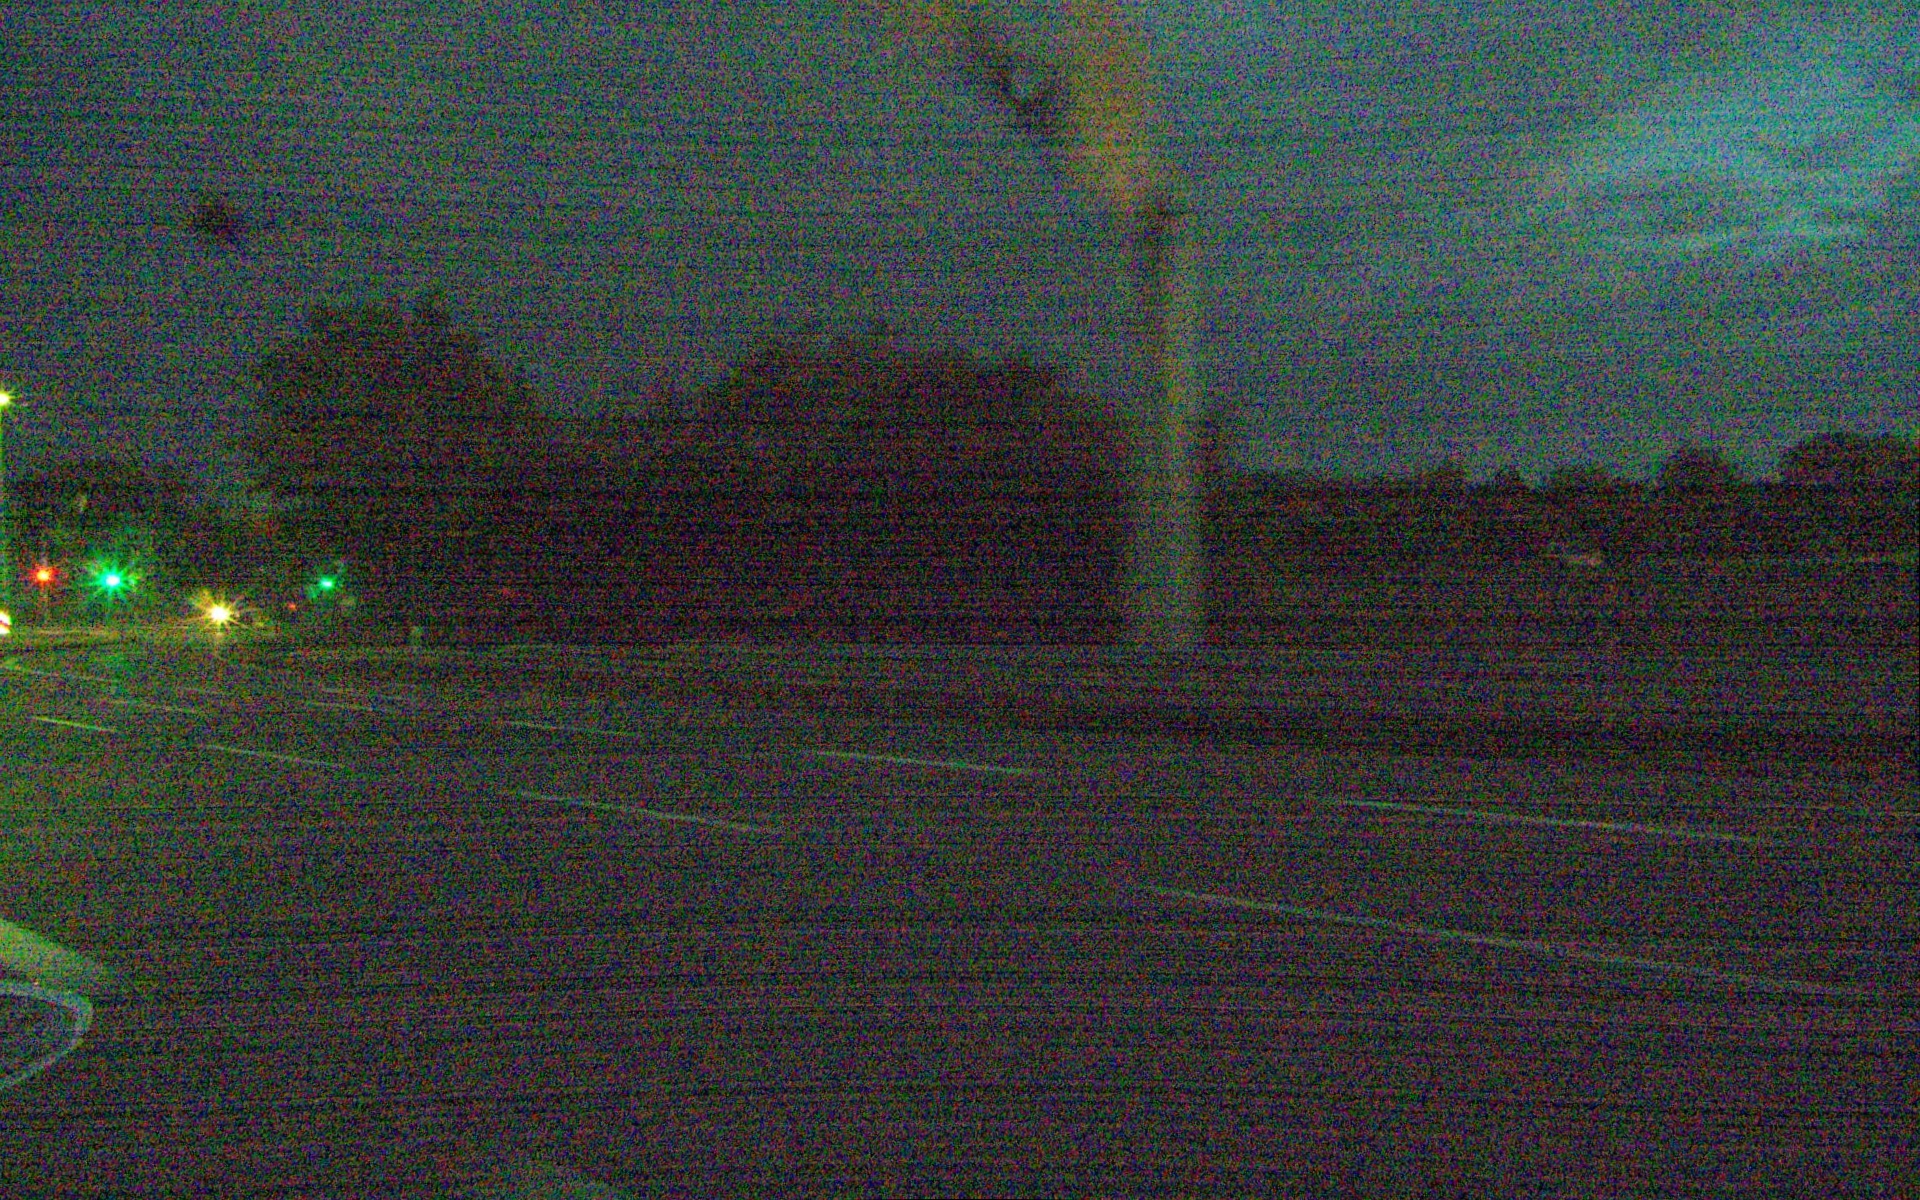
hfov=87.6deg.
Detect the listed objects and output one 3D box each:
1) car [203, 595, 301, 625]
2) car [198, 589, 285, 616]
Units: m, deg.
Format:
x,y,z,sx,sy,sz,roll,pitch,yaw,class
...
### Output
x,y,z,sx,sy,sz,roll,pitch,yaw,class
-39.542,0.536,56.011,1.973,1.590,4.066,1,1,31,car
-44.323,0.113,61.866,1.872,1.591,3.979,1,1,31,car
